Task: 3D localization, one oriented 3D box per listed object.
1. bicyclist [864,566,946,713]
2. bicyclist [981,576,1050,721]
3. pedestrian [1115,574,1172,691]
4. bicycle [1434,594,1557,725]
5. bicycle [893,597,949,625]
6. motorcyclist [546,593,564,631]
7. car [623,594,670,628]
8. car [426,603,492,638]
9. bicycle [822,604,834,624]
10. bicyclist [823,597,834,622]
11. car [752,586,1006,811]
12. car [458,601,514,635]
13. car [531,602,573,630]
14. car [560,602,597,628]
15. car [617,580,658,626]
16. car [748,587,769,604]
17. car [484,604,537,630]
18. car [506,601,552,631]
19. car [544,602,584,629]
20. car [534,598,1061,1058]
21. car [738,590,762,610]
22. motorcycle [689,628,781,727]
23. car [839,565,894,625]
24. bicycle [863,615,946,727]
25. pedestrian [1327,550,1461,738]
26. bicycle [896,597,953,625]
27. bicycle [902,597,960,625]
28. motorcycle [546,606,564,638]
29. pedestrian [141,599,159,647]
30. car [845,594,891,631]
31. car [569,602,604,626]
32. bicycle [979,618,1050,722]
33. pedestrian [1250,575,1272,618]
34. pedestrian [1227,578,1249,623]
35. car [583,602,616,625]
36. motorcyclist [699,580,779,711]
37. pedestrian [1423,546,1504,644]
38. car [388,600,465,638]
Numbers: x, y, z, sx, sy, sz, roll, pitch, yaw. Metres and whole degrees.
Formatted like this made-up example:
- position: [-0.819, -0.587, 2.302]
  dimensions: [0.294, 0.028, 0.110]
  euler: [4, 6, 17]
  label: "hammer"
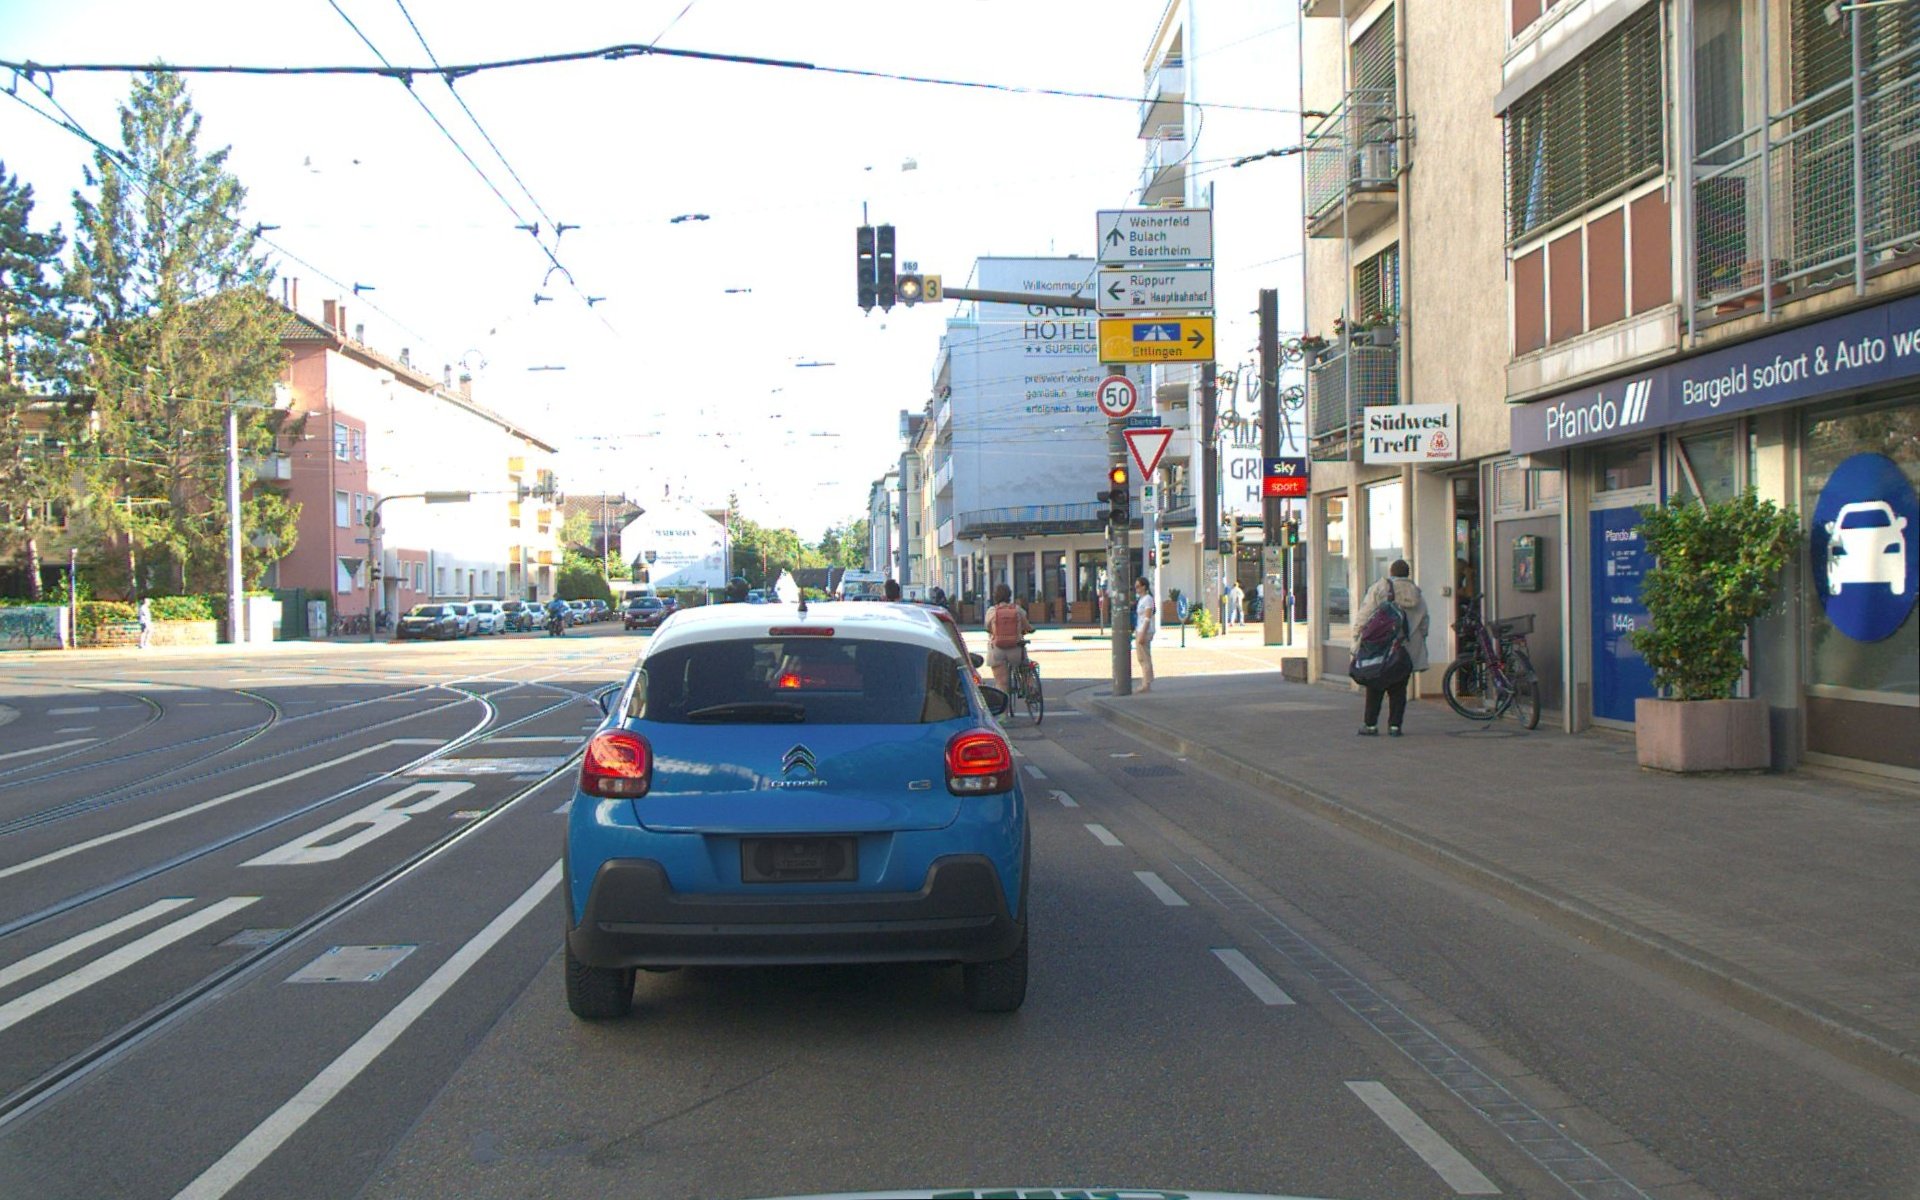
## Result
- position: [-0.659, 0.466, 19.865]
  dimensions: [0.921, 1.702, 1.079]
  euler: [1, 0, -2]
  label: "bicyclist"
- position: [0.692, 0.587, 20.320]
  dimensions: [0.794, 1.721, 0.935]
  euler: [1, 0, 4]
  label: "bicyclist"
- position: [2.677, 0.471, 24.143]
  dimensions: [0.528, 1.652, 0.733]
  euler: [-5, -2, 21]
  label: "pedestrian"
- position: [5.095, 0.544, 15.829]
  dimensions: [0.486, 1.182, 1.776]
  euler: [-1, 0, -4]
  label: "bicycle"
- position: [-1.612, 0.450, 68.255]
  dimensions: [2.208, 1.019, 0.855]
  euler: [-2, 0, -6]
  label: "bicycle"
- position: [-16.378, 0.485, 66.890]
  dimensions: [0.681, 1.523, 0.682]
  euler: [-1, -2, -14]
  label: "motorcyclist"
- position: [-14.422, 0.503, 76.200]
  dimensions: [1.744, 1.512, 3.824]
  euler: [-1, 0, -5]
  label: "car"
- position: [-22.432, 0.905, 74.198]
  dimensions: [1.865, 1.462, 4.100]
  euler: [1, 0, -3]
  label: "car"
- position: [-11.377, 1.168, 142.854]
  dimensions: [0.774, 1.699, 2.230]
  euler: [1, 0, 1]
  label: "bicycle"
- position: [-11.372, 0.820, 142.859]
  dimensions: [0.774, 2.060, 0.986]
  euler: [1, -1, 0]
  label: "bicyclist"
- position: [-0.735, 0.681, 13.461]
  dimensions: [1.750, 1.548, 3.758]
  euler: [1, 1, -5]
  label: "car"
- position: [-22.624, 0.834, 79.027]
  dimensions: [1.707, 1.553, 4.226]
  euler: [1, 0, -4]
  label: "car"
- position: [-24.081, 0.911, 97.751]
  dimensions: [1.833, 1.604, 3.995]
  euler: [1, 0, -6]
  label: "car"
- position: [-24.719, 0.940, 107.347]
  dimensions: [1.833, 1.604, 3.995]
  euler: [1, 0, -6]
  label: "car"
- position: [-23.121, 0.239, 118.683]
  dimensions: [2.370, 3.197, 3.486]
  euler: [1, 0, -4]
  label: "car"
- position: [-22.822, -0.511, 187.490]
  dimensions: [2.033, 1.793, 5.032]
  euler: [1, 0, -4]
  label: "car"
- position: [-23.252, 0.868, 85.717]
  dimensions: [1.909, 1.261, 4.278]
  euler: [1, 0, -5]
  label: "car"
- position: [-23.853, 0.890, 91.695]
  dimensions: [1.833, 1.604, 3.995]
  euler: [1, 0, -6]
  label: "car"
- position: [-24.453, 0.923, 102.171]
  dimensions: [1.833, 1.604, 3.995]
  euler: [1, 0, -6]
  label: "car"
- position: [-0.483, 0.735, 7.161]
  dimensions: [1.700, 1.478, 3.663]
  euler: [0, 0, 1]
  label: "car"
- position: [-21.510, 0.034, 169.637]
  dimensions: [2.174, 1.965, 4.945]
  euler: [1, 0, -4]
  label: "car"
- position: [-2.622, 0.886, 19.473]
  dimensions: [0.837, 1.065, 1.942]
  euler: [1, 0, -1]
  label: "motorcycle"
- position: [-4.148, -0.210, 72.758]
  dimensions: [2.221, 2.525, 5.002]
  euler: [0, 0, -5]
  label: "car"
- position: [-0.660, 0.816, 19.782]
  dimensions: [0.921, 1.245, 2.094]
  euler: [1, 0, -2]
  label: "bicycle"
- position: [3.964, 0.384, 15.144]
  dimensions: [0.868, 1.619, 0.809]
  euler: [-3, 1, -9]
  label: "pedestrian"
- position: [-1.436, 0.442, 67.145]
  dimensions: [2.208, 1.019, 0.855]
  euler: [-2, 0, -6]
  label: "bicycle"
- position: [-1.147, 0.451, 65.782]
  dimensions: [2.208, 1.019, 0.855]
  euler: [-2, 0, -6]
  label: "bicycle"
- position: [-16.334, 0.888, 66.715]
  dimensions: [0.700, 1.241, 1.958]
  euler: [-1, -2, -14]
  label: "motorcycle"
- position: [-27.433, 0.781, 56.008]
  dimensions: [0.510, 1.596, 0.568]
  euler: [1, -1, -28]
  label: "pedestrian"
- position: [-3.796, 0.501, 67.773]
  dimensions: [1.626, 1.456, 3.882]
  euler: [1, 0, -7]
  label: "car"
- position: [-25.328, 0.951, 112.342]
  dimensions: [1.833, 1.604, 3.995]
  euler: [1, 0, -6]
  label: "car"
- position: [0.702, 0.831, 20.510]
  dimensions: [0.794, 1.202, 2.065]
  euler: [1, 0, 4]
  label: "bicycle"
- position: [11.546, -0.117, 63.375]
  dimensions: [0.599, 1.636, 0.667]
  euler: [1, -1, 34]
  label: "pedestrian"
- position: [10.316, 0.019, 61.347]
  dimensions: [0.598, 1.636, 0.668]
  euler: [1, -1, 27]
  label: "pedestrian"
- position: [-25.813, 0.968, 118.564]
  dimensions: [1.833, 1.604, 3.995]
  euler: [1, 0, -6]
  label: "car"
- position: [-2.622, 0.533, 19.688]
  dimensions: [0.837, 1.514, 0.729]
  euler: [1, -1, -1]
  label: "motorcyclist"
- position: [5.914, -0.063, 19.434]
  dimensions: [0.618, 1.106, 0.670]
  euler: [-2, 1, -38]
  label: "pedestrian"
- position: [-22.101, 0.817, 68.706]
  dimensions: [2.112, 1.457, 4.435]
  euler: [1, -2, -5]
  label: "car"
